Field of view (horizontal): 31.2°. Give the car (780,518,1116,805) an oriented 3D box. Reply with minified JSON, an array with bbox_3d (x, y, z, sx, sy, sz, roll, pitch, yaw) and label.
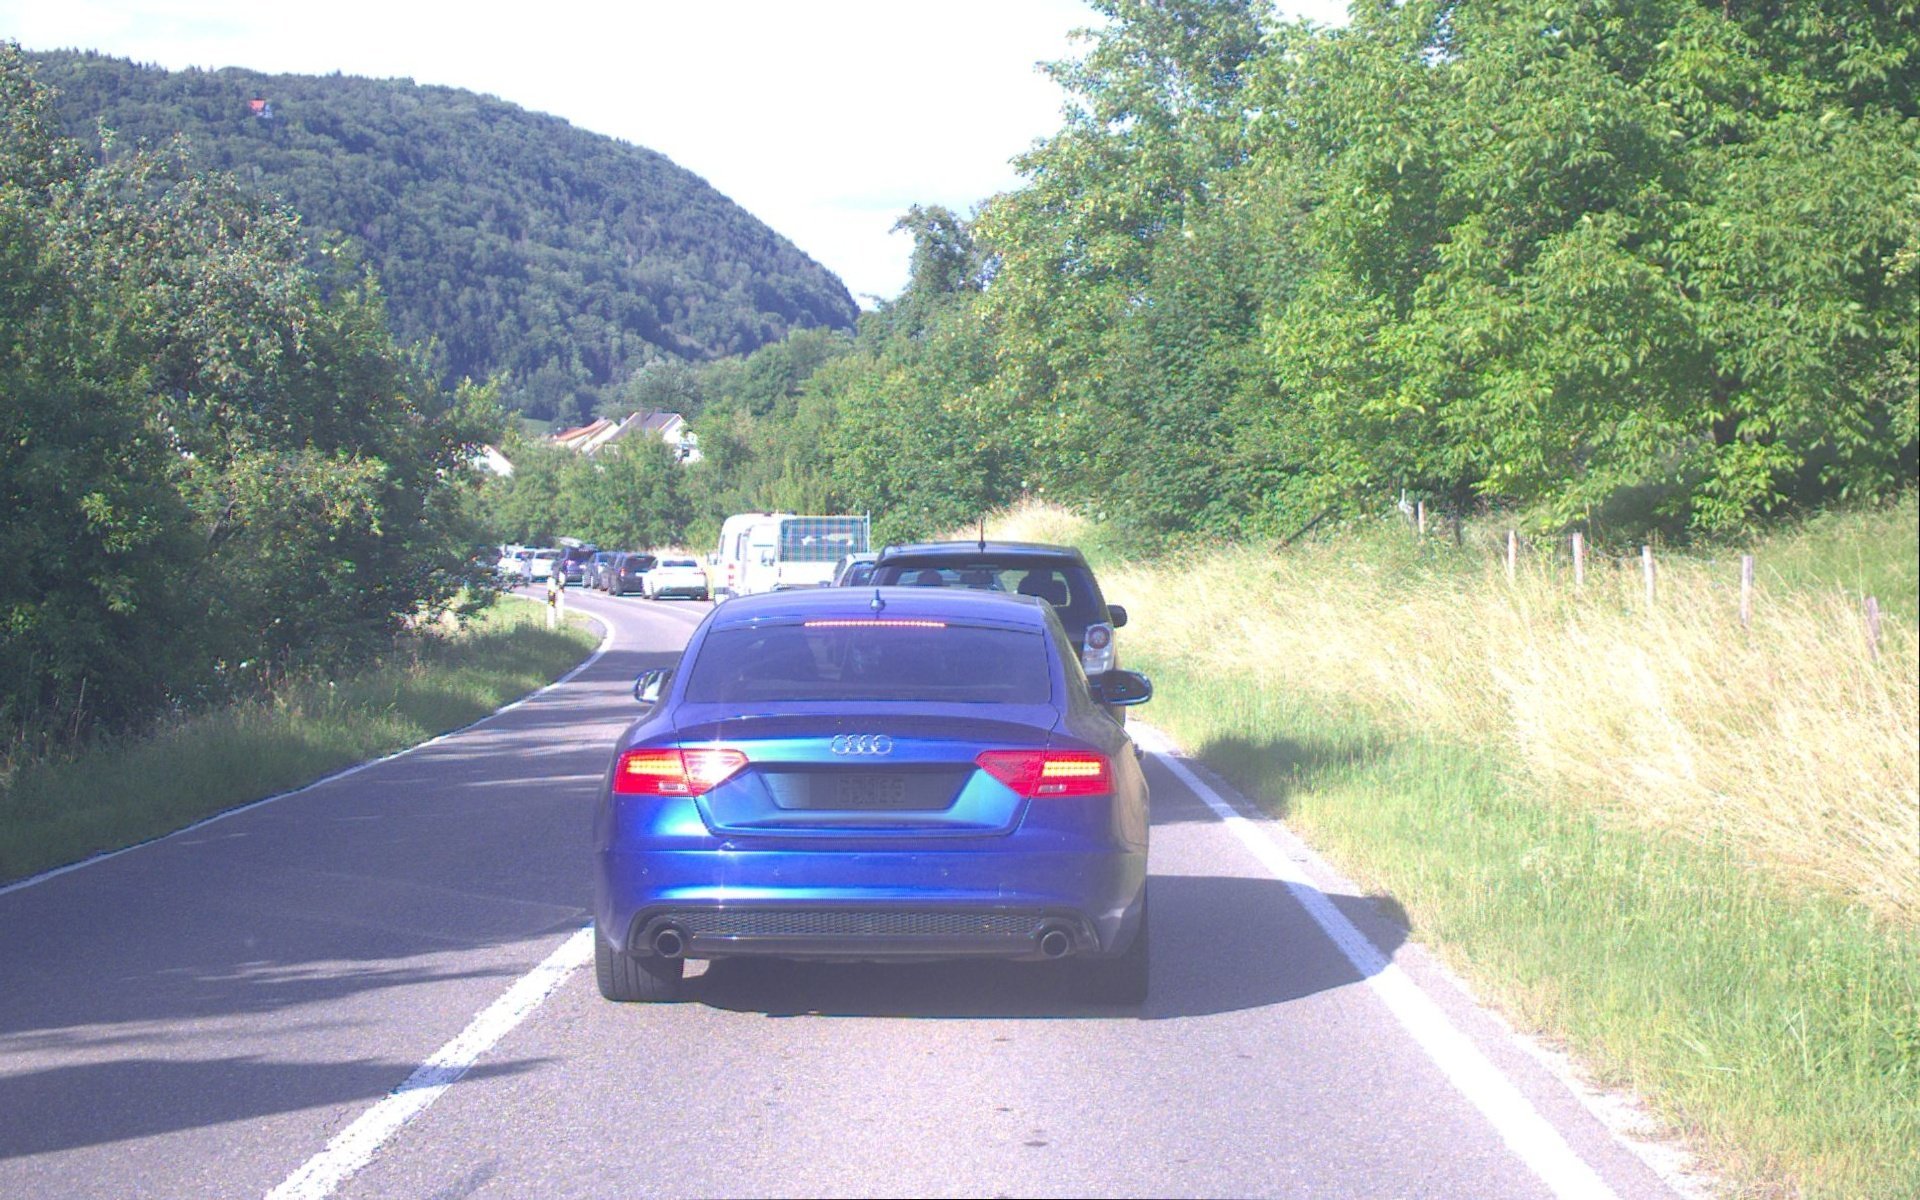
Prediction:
[{"bbox_3d":[-0.051,0.361,22.624,1.993,1.696,4.000,1,0,1],"label":"car"}]

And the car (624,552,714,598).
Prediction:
[{"bbox_3d":[-9.545,-0.823,112.538,1.993,1.477,4.001,1,0,-20],"label":"car"}]

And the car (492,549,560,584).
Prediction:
[{"bbox_3d":[-18.926,-1.440,149.660,1.993,1.477,4.001,1,0,-22],"label":"car"}]

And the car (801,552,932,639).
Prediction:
[{"bbox_3d":[-1.716,-0.090,61.668,1.993,1.477,4.001,1,0,-6],"label":"car"}]

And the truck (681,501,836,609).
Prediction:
[{"bbox_3d":[-5.476,-1.202,91.455,2.863,2.656,10.648,1,1,-10],"label":"truck"}]

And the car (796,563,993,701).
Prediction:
[{"bbox_3d":[-0.651,0.321,37.095,1.993,1.382,4.000,1,0,1],"label":"car"}]

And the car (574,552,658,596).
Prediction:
[{"bbox_3d":[-12.030,-0.911,120.004,1.993,1.477,4.001,1,0,-20],"label":"car"}]

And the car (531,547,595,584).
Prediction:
[{"bbox_3d":[-16.306,-1.396,141.114,1.993,1.477,4.001,1,0,-16],"label":"car"}]

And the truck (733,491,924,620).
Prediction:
[{"bbox_3d":[-3.086,-0.993,77.103,2.863,2.656,10.396,1,1,-10],"label":"truck"}]

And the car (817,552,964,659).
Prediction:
[{"bbox_3d":[-0.973,0.068,50.196,1.993,1.477,4.000,1,0,1],"label":"car"}]

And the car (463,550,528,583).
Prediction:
[{"bbox_3d":[-21.139,-1.521,156.336,1.993,1.477,4.001,1,0,-22],"label":"car"}]

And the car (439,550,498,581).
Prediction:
[{"bbox_3d":[-24.058,-1.687,168.203,1.993,1.477,4.001,1,0,-22],"label":"car"}]

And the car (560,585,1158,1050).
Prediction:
[{"bbox_3d":[-0.251,0.647,12.374,1.794,1.355,4.000,1,1,2],"label":"car"}]
